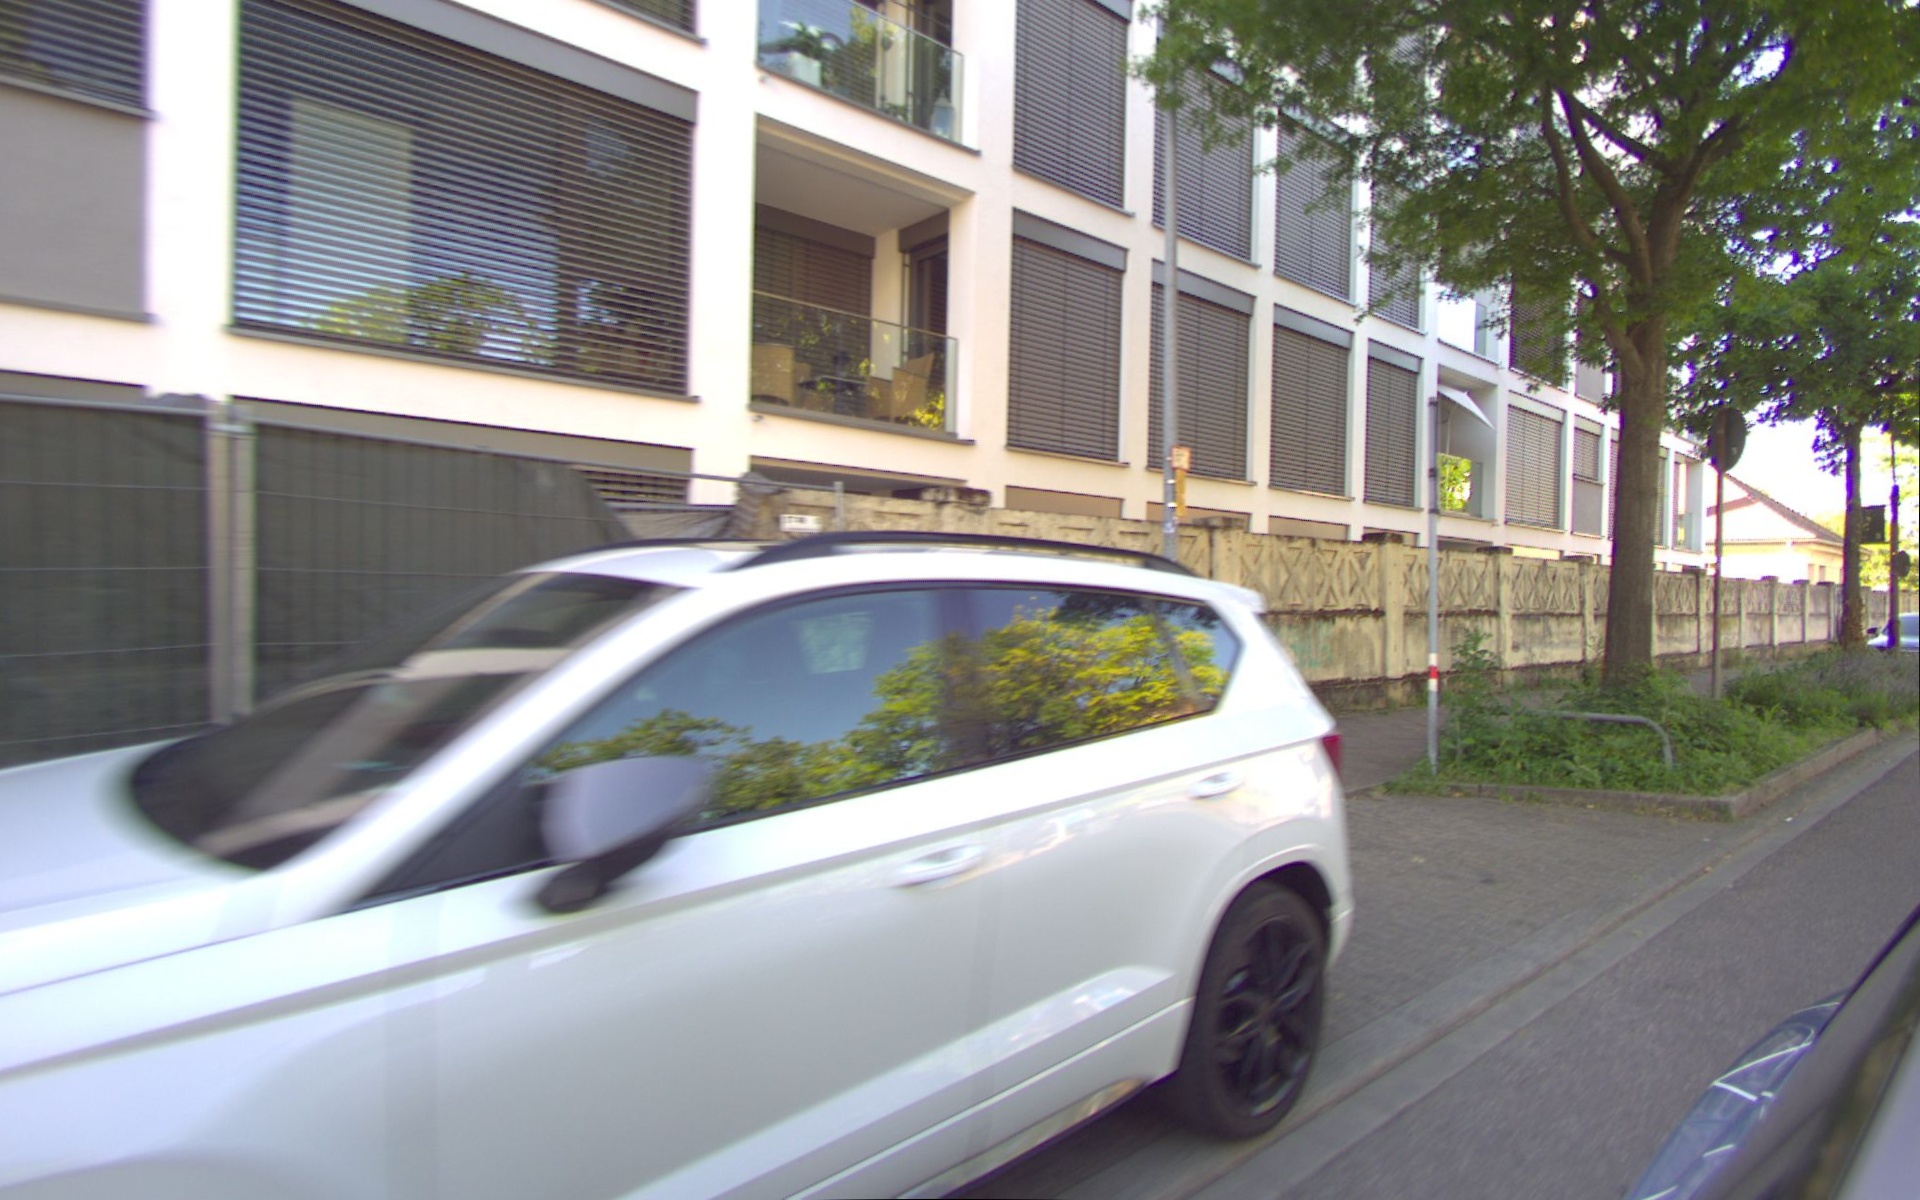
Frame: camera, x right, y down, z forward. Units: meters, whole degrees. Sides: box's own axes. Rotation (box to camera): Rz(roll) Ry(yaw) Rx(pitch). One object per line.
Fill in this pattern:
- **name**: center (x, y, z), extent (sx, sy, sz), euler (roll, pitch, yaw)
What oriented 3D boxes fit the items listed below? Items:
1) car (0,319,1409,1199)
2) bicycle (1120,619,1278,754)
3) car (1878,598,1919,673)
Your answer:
- **car**: center (-0.676, 0.533, 2.532), extent (4.055, 1.636, 1.795), euler (1, 0, -42)
- **bicycle**: center (2.112, 0.702, 8.783), extent (1.799, 1.054, 0.337), euler (1, 0, -41)
- **car**: center (20.590, 0.747, 20.939), extent (4.677, 1.428, 1.724), euler (1, 0, -40)
